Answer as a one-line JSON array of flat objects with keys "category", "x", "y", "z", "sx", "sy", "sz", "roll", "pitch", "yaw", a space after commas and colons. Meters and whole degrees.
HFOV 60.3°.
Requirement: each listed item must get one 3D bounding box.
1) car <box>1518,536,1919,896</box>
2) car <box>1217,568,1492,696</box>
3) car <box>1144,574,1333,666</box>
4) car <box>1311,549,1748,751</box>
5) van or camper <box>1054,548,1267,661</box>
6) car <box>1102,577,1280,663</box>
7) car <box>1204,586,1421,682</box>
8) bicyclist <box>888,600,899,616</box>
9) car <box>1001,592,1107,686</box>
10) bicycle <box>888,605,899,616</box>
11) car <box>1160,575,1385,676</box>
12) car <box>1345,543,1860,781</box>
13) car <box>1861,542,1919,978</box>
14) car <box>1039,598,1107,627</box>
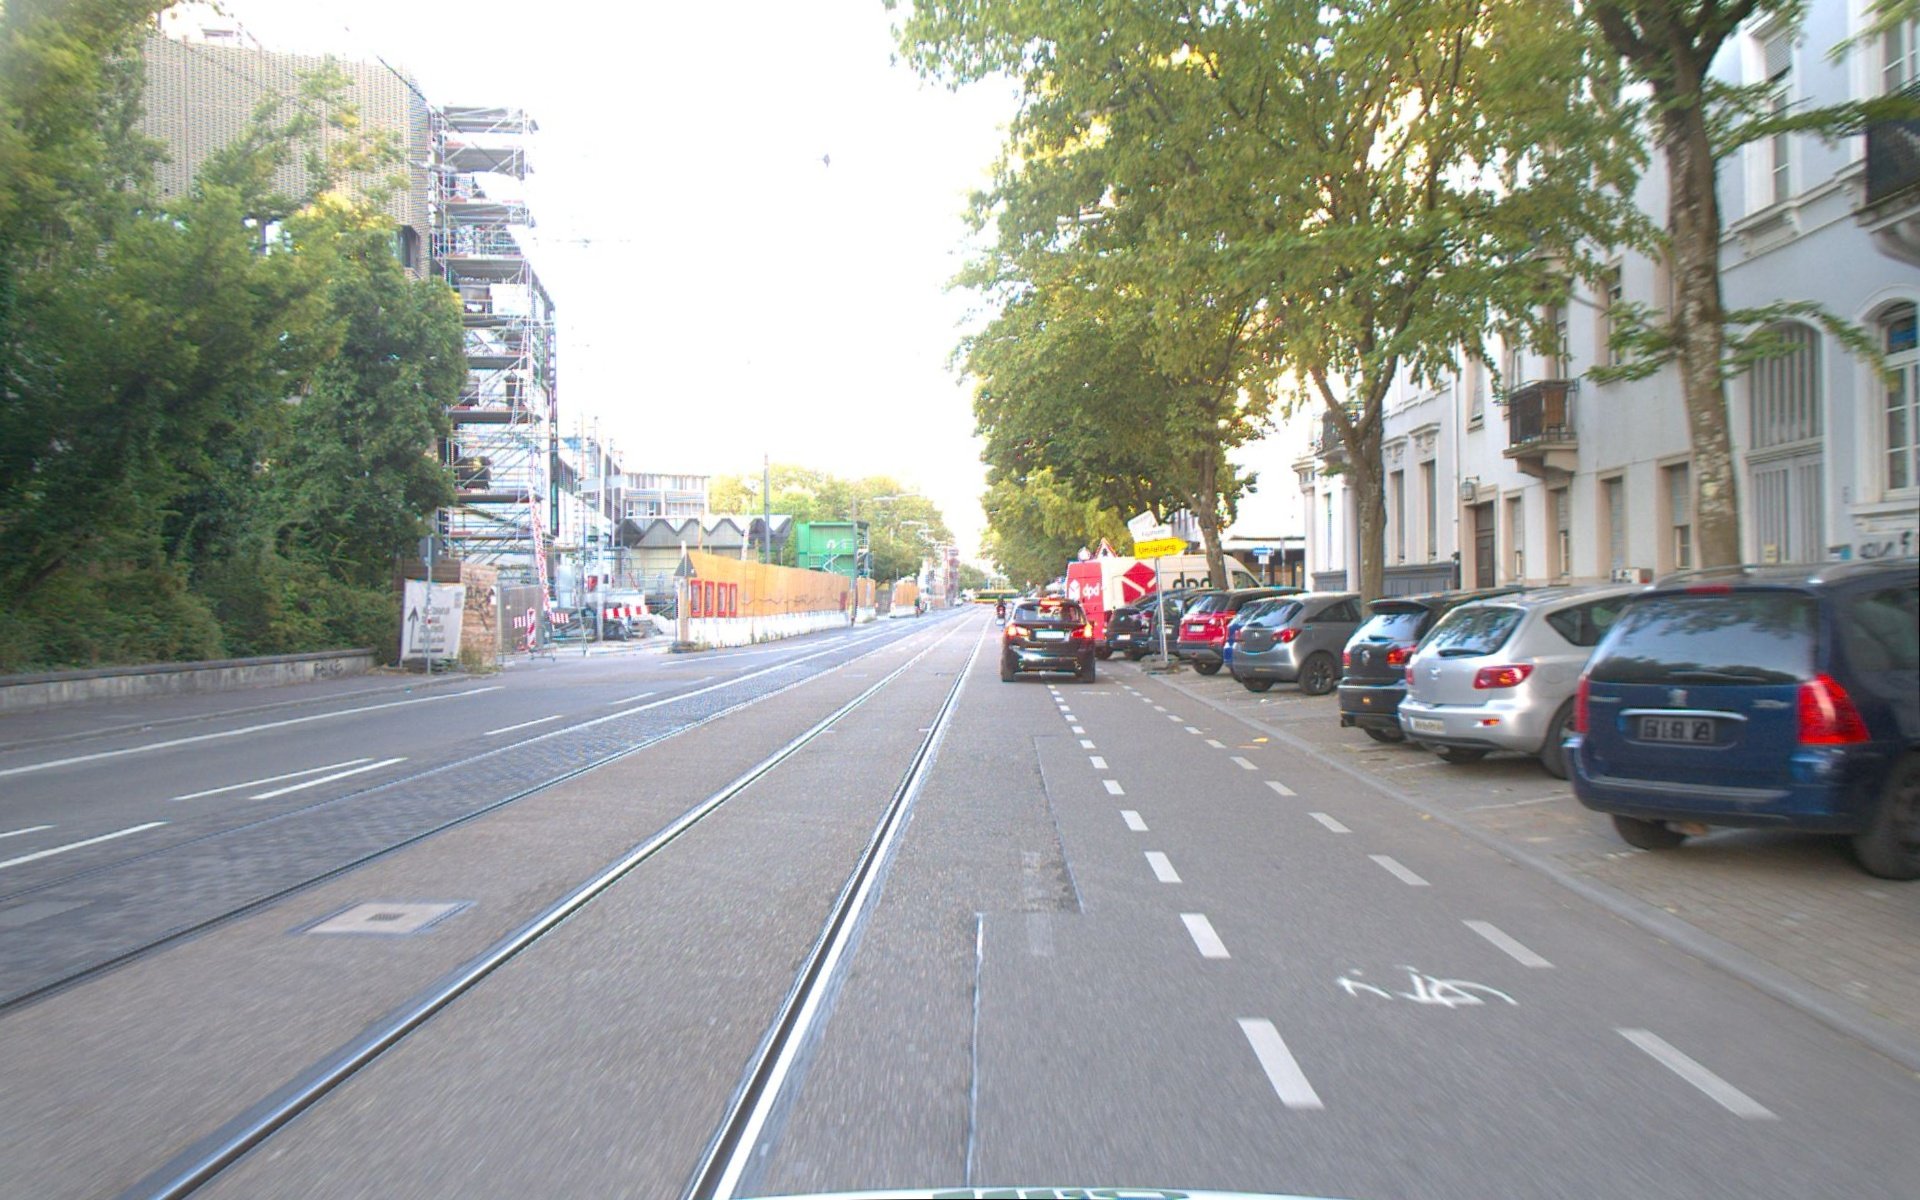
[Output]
[{"category": "car", "x": 5.316, "y": 0.477, "z": 9.540, "sx": 3.903, "sy": 1.631, "sz": 1.821, "roll": -4, "pitch": 0, "yaw": -31}, {"category": "car", "x": 6.100, "y": 0.475, "z": 25.500, "sx": 3.903, "sy": 1.631, "sz": 1.821, "roll": -4, "pitch": 0, "yaw": -31}, {"category": "car", "x": 6.416, "y": 0.448, "z": 38.107, "sx": 3.894, "sy": 1.796, "sz": 1.825, "roll": -4, "pitch": 0, "yaw": -26}, {"category": "car", "x": 5.598, "y": 0.436, "z": 16.222, "sx": 3.896, "sy": 1.631, "sz": 1.824, "roll": -3, "pitch": 0, "yaw": -27}, {"category": "van or camper", "x": 5.346, "y": 0.097, "z": 43.790, "sx": 5.483, "sy": 2.574, "sz": 2.062, "roll": -4, "pitch": 0, "yaw": -34}, {"category": "car", "x": 5.683, "y": 0.496, "z": 40.666, "sx": 3.894, "sy": 1.796, "sz": 1.825, "roll": -4, "pitch": 0, "yaw": -26}, {"category": "car", "x": 6.206, "y": 0.585, "z": 29.032, "sx": 3.607, "sy": 1.470, "sz": 1.640, "roll": -2, "pitch": -1, "yaw": -34}, {"category": "bicyclist", "x": -5.852, "y": 0.687, "z": 145.301, "sx": 0.925, "sy": 1.369, "sz": 1.111, "roll": -1, "pitch": 0, "yaw": -2}, {"category": "car", "x": 1.751, "y": 0.705, "z": 32.004, "sx": 1.843, "sy": 1.648, "sz": 4.000, "roll": 2, "pitch": 0, "yaw": 1}, {"category": "bicycle", "x": -5.848, "y": 0.923, "z": 146.069, "sx": 0.928, "sy": 0.864, "sz": 2.696, "roll": -1, "pitch": 0, "yaw": -1}, {"category": "car", "x": 6.057, "y": 0.485, "z": 32.054, "sx": 3.894, "sy": 1.631, "sz": 1.825, "roll": -4, "pitch": 0, "yaw": -26}, {"category": "car", "x": 5.453, "y": 0.478, "z": 14.043, "sx": 3.892, "sy": 1.631, "sz": 1.826, "roll": -3, "pitch": -1, "yaw": -25}, {"category": "car", "x": 5.598, "y": 0.416, "z": 6.581, "sx": 3.904, "sy": 1.631, "sz": 1.728, "roll": -6, "pitch": 1, "yaw": -31}, {"category": "car", "x": 6.946, "y": 0.766, "z": 102.117, "sx": 3.874, "sy": 1.752, "sz": 1.629, "roll": -1, "pitch": 0, "yaw": -13}]
